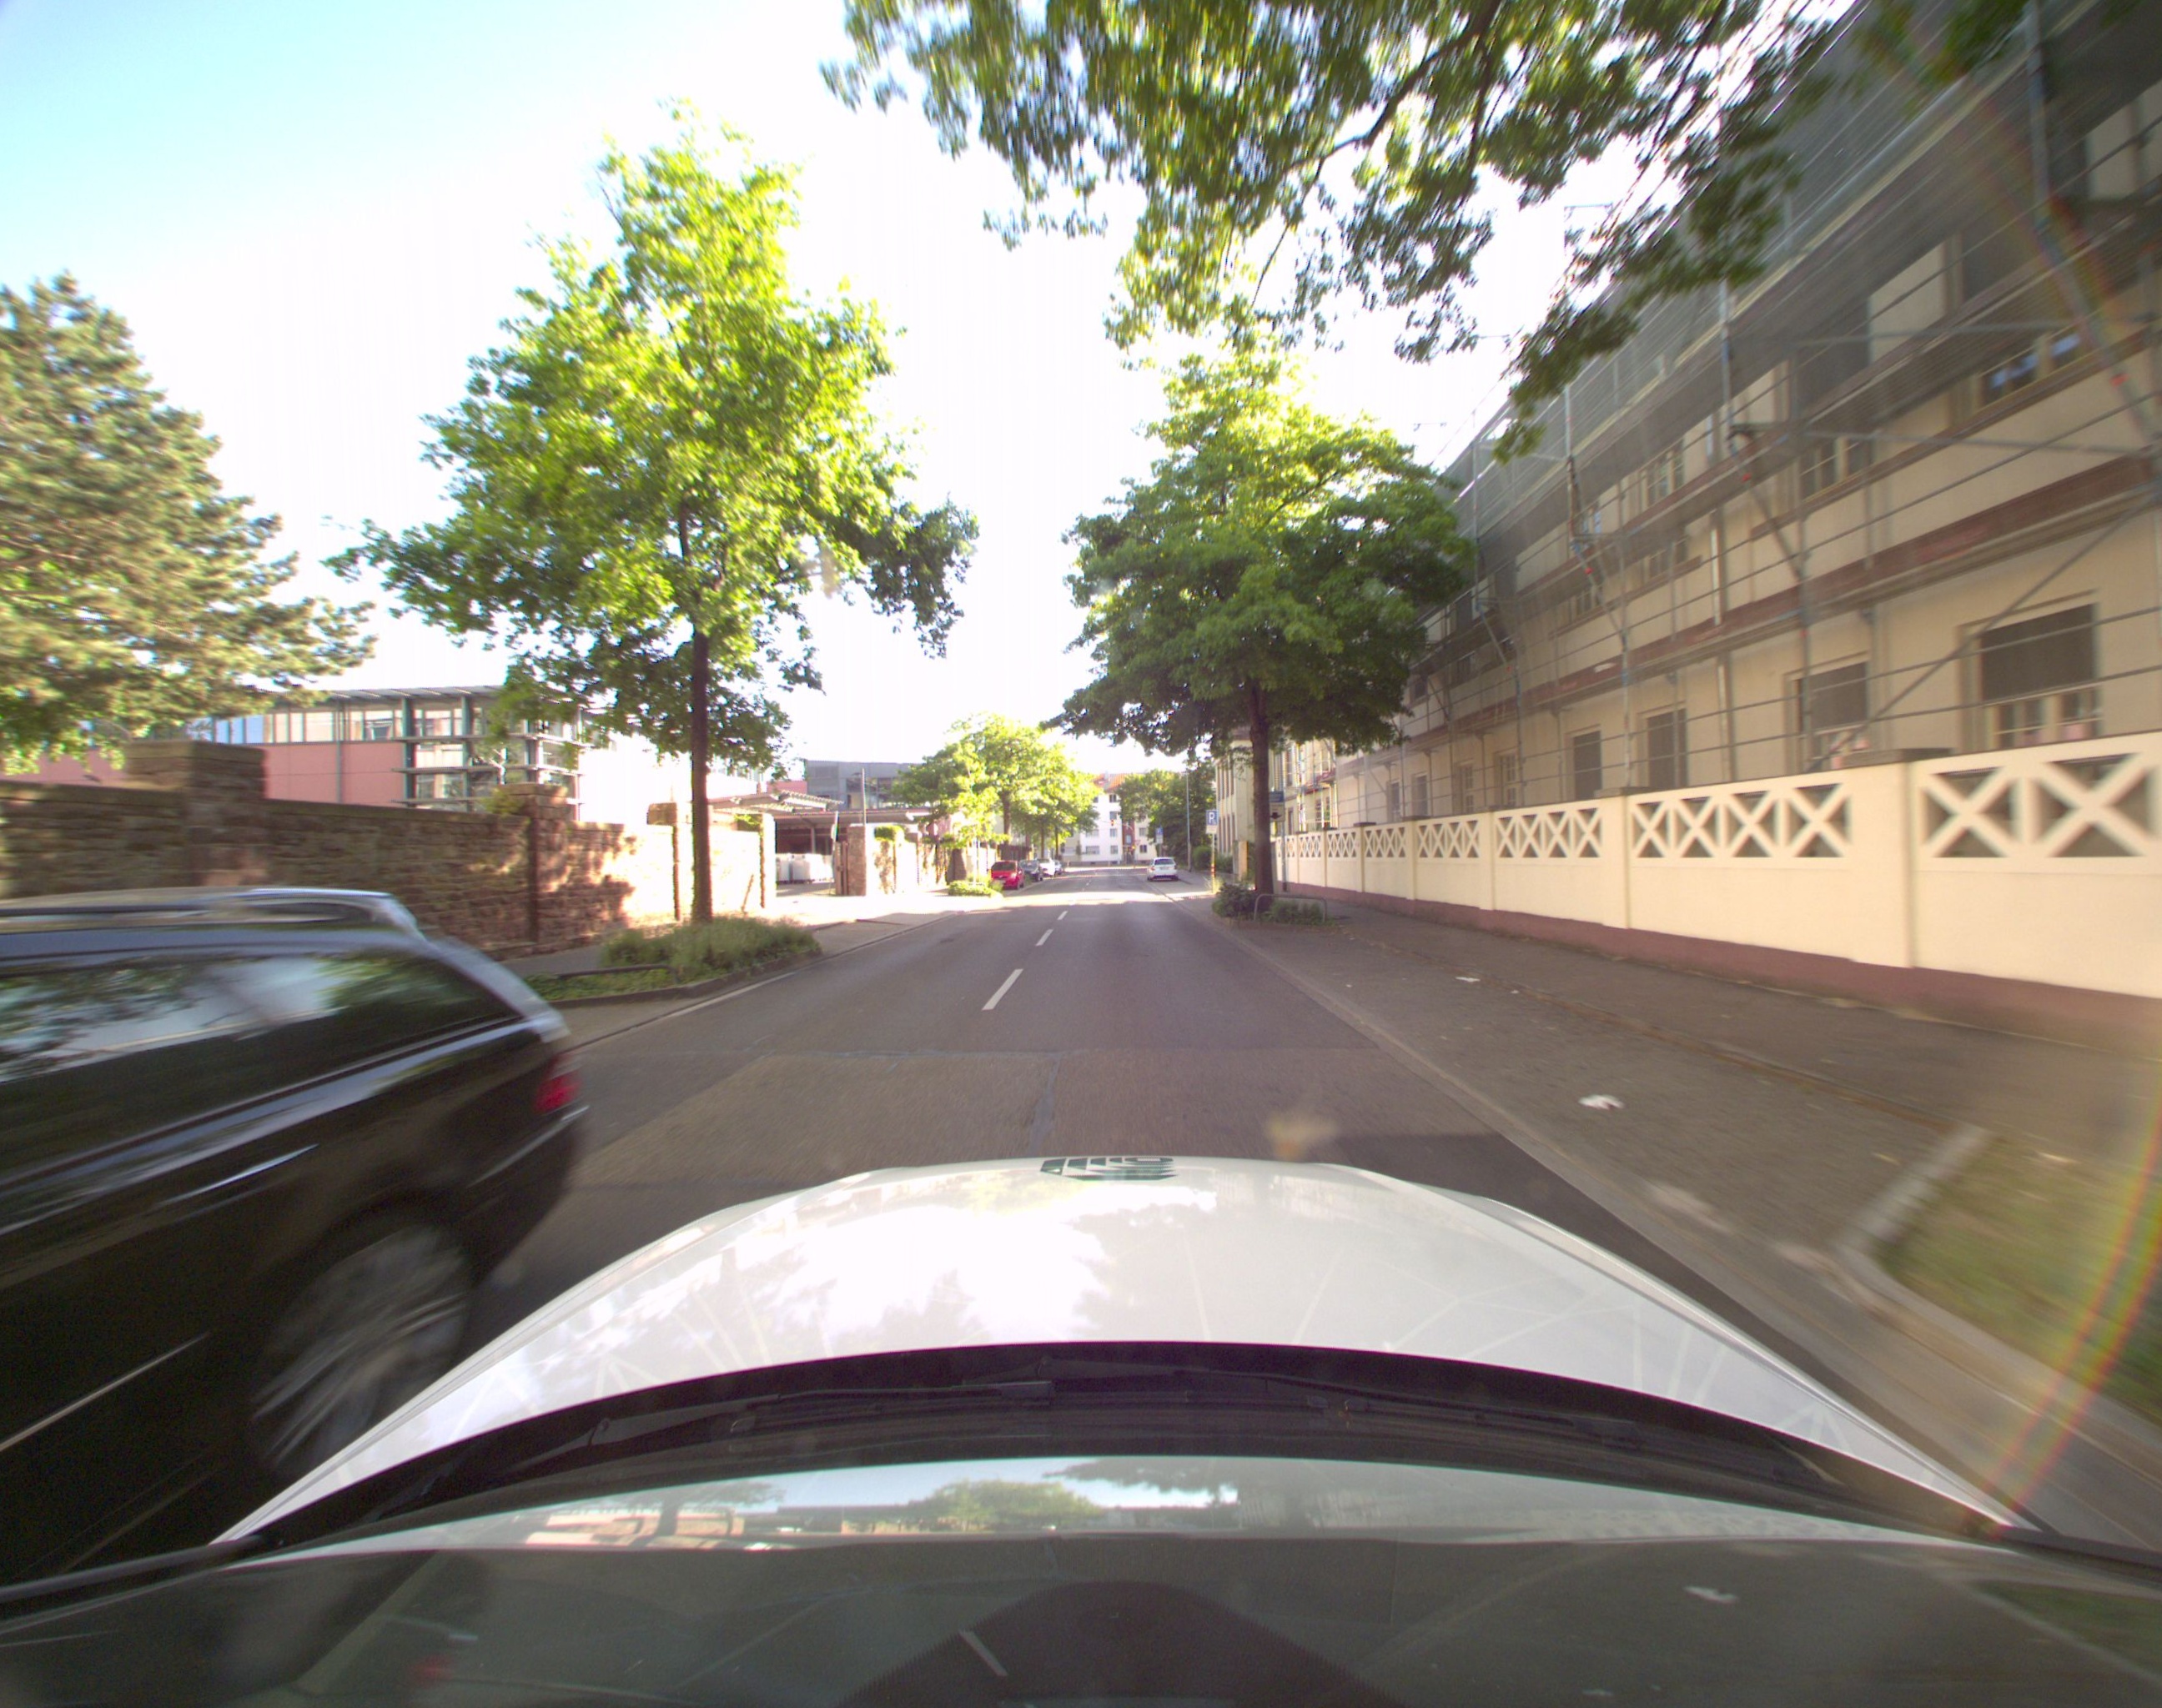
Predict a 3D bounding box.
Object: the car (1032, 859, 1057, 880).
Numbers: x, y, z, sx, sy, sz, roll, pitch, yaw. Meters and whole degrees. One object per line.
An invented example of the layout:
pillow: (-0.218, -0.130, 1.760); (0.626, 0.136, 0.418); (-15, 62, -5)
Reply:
car: (-2.979, 1.240, 67.144); (1.714, 1.684, 4.351); (-1, 0, 0)

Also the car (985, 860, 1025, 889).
car: (-3.979, 1.074, 43.074); (1.602, 1.459, 3.710); (0, -1, 2)

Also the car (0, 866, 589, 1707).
car: (-2.695, 0.783, 0.923); (1.815, 1.436, 3.969); (-2, 0, 0)

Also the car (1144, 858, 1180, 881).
car: (4.996, 0.940, 50.536); (1.826, 1.323, 4.497); (-2, -1, 1)

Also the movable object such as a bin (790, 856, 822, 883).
movable object such as a bin: (-17.479, 0.995, 51.919); (1.202, 1.687, 2.438); (1, -1, -1)

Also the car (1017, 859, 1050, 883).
car: (-3.251, 1.160, 56.329); (1.730, 1.592, 4.110); (-1, 0, 3)

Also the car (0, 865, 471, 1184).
car: (-5.806, 0.796, 4.747); (1.683, 1.422, 3.835); (1, -1, -2)

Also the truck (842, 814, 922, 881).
truck: (-11.864, -0.342, 49.290); (2.722, 3.711, 7.430); (0, -1, 2)

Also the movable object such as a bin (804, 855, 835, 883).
movable object such as a bin: (-17.554, 0.999, 54.681); (1.202, 1.781, 2.672); (1, -1, -1)

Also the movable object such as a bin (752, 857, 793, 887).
movable object such as a bin: (-17.119, 0.976, 45.296); (1.322, 1.598, 2.554); (1, -1, -1)

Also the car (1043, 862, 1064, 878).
car: (-2.639, 1.527, 79.413); (1.720, 1.476, 4.479); (0, 0, 2)

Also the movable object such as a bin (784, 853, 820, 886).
movable object such as a bin: (-16.334, 0.876, 47.790); (1.187, 1.864, 2.440); (0, -1, 1)
